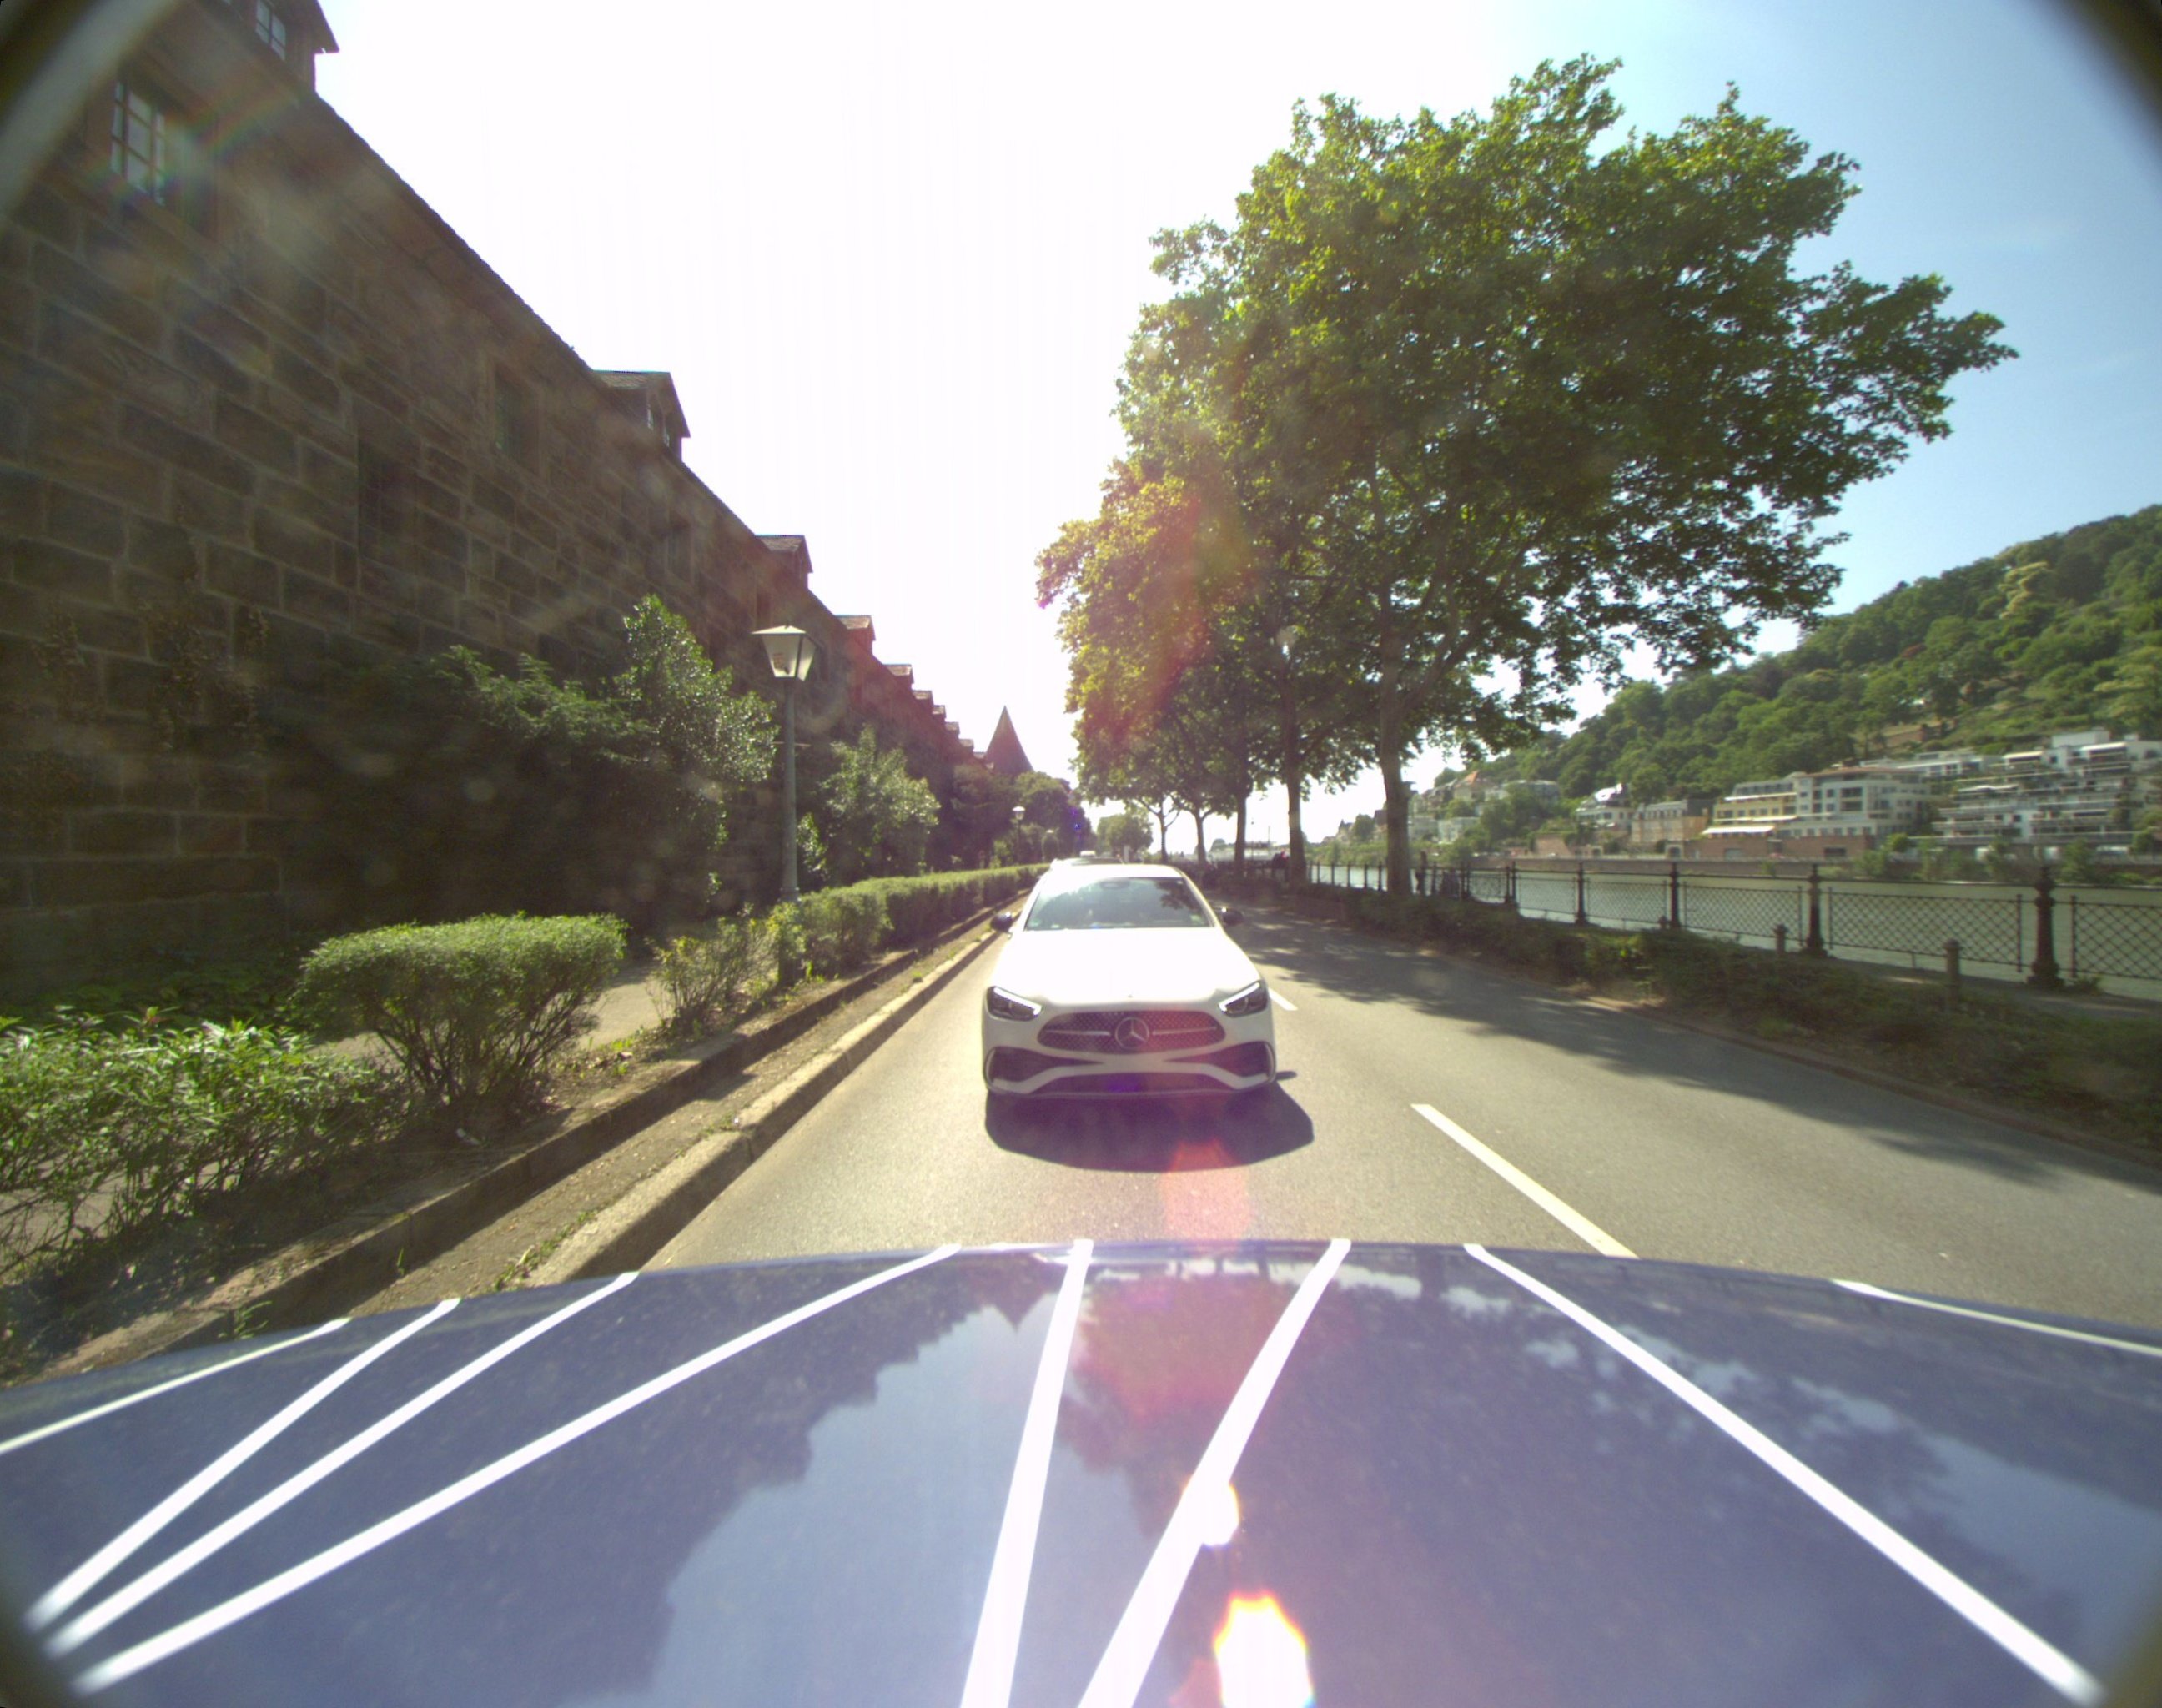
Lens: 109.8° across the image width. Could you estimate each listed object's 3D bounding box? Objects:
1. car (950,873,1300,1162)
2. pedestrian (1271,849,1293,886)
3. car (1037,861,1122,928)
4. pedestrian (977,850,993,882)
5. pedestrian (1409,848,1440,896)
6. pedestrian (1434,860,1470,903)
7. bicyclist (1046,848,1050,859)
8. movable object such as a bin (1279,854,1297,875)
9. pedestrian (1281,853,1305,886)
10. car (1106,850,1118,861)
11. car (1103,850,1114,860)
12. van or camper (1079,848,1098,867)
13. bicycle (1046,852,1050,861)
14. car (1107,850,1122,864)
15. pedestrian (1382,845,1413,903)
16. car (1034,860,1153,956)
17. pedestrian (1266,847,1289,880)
[{"bbox_3d":[0.265,0.933,6.222,1.833,1.395,4.270,-2,0,1],"label":"car"},{"bbox_3d":[10.211,0.662,38.635,0.806,1.839,0.929,-2,1,1],"label":"pedestrian"},{"bbox_3d":[-0.003,0.911,19.021,1.833,1.395,4.424,-2,0,1],"label":"car"},{"bbox_3d":[-4.749,0.576,37.551,0.643,1.555,0.563,-2,1,1],"label":"pedestrian"},{"bbox_3d":[12.897,0.670,28.548,0.777,1.748,0.830,1,1,0],"label":"pedestrian"},{"bbox_3d":[12.085,0.891,24.757,0.768,1.379,0.770,1,0,0],"label":"pedestrian"},{"bbox_3d":[-4.363,-0.079,100.680,0.550,1.513,0.583,-2,1,-1],"label":"bicyclist"},{"bbox_3d":[10.811,0.553,39.719,0.703,1.043,0.783,-2,1,4],"label":"movable object such as a bin"},{"bbox_3d":[10.819,0.780,38.815,0.897,1.625,1.059,-2,1,3],"label":"pedestrian"},{"bbox_3d":[5.851,0.294,145.081,2.165,2.002,4.000,-2,1,1],"label":"car"},{"bbox_3d":[6.150,0.166,169.993,2.165,2.002,4.000,-2,1,1],"label":"car"},{"bbox_3d":[0.965,0.388,97.400,2.313,2.358,5.035,1,0,0],"label":"van or camper"},{"bbox_3d":[-4.361,0.316,100.657,0.406,1.169,1.576,-2,1,-2],"label":"bicycle"},{"bbox_3d":[5.157,0.448,118.237,2.165,2.002,4.000,-2,1,1],"label":"car"},{"bbox_3d":[10.561,0.654,25.373,0.767,1.889,0.771,1,1,8],"label":"pedestrian"},{"bbox_3d":[0.230,0.874,14.141,1.833,1.428,4.270,-2,0,1],"label":"car"},{"bbox_3d":[12.119,0.592,46.922,1.047,2.002,1.036,-1,1,31],"label":"pedestrian"}]
